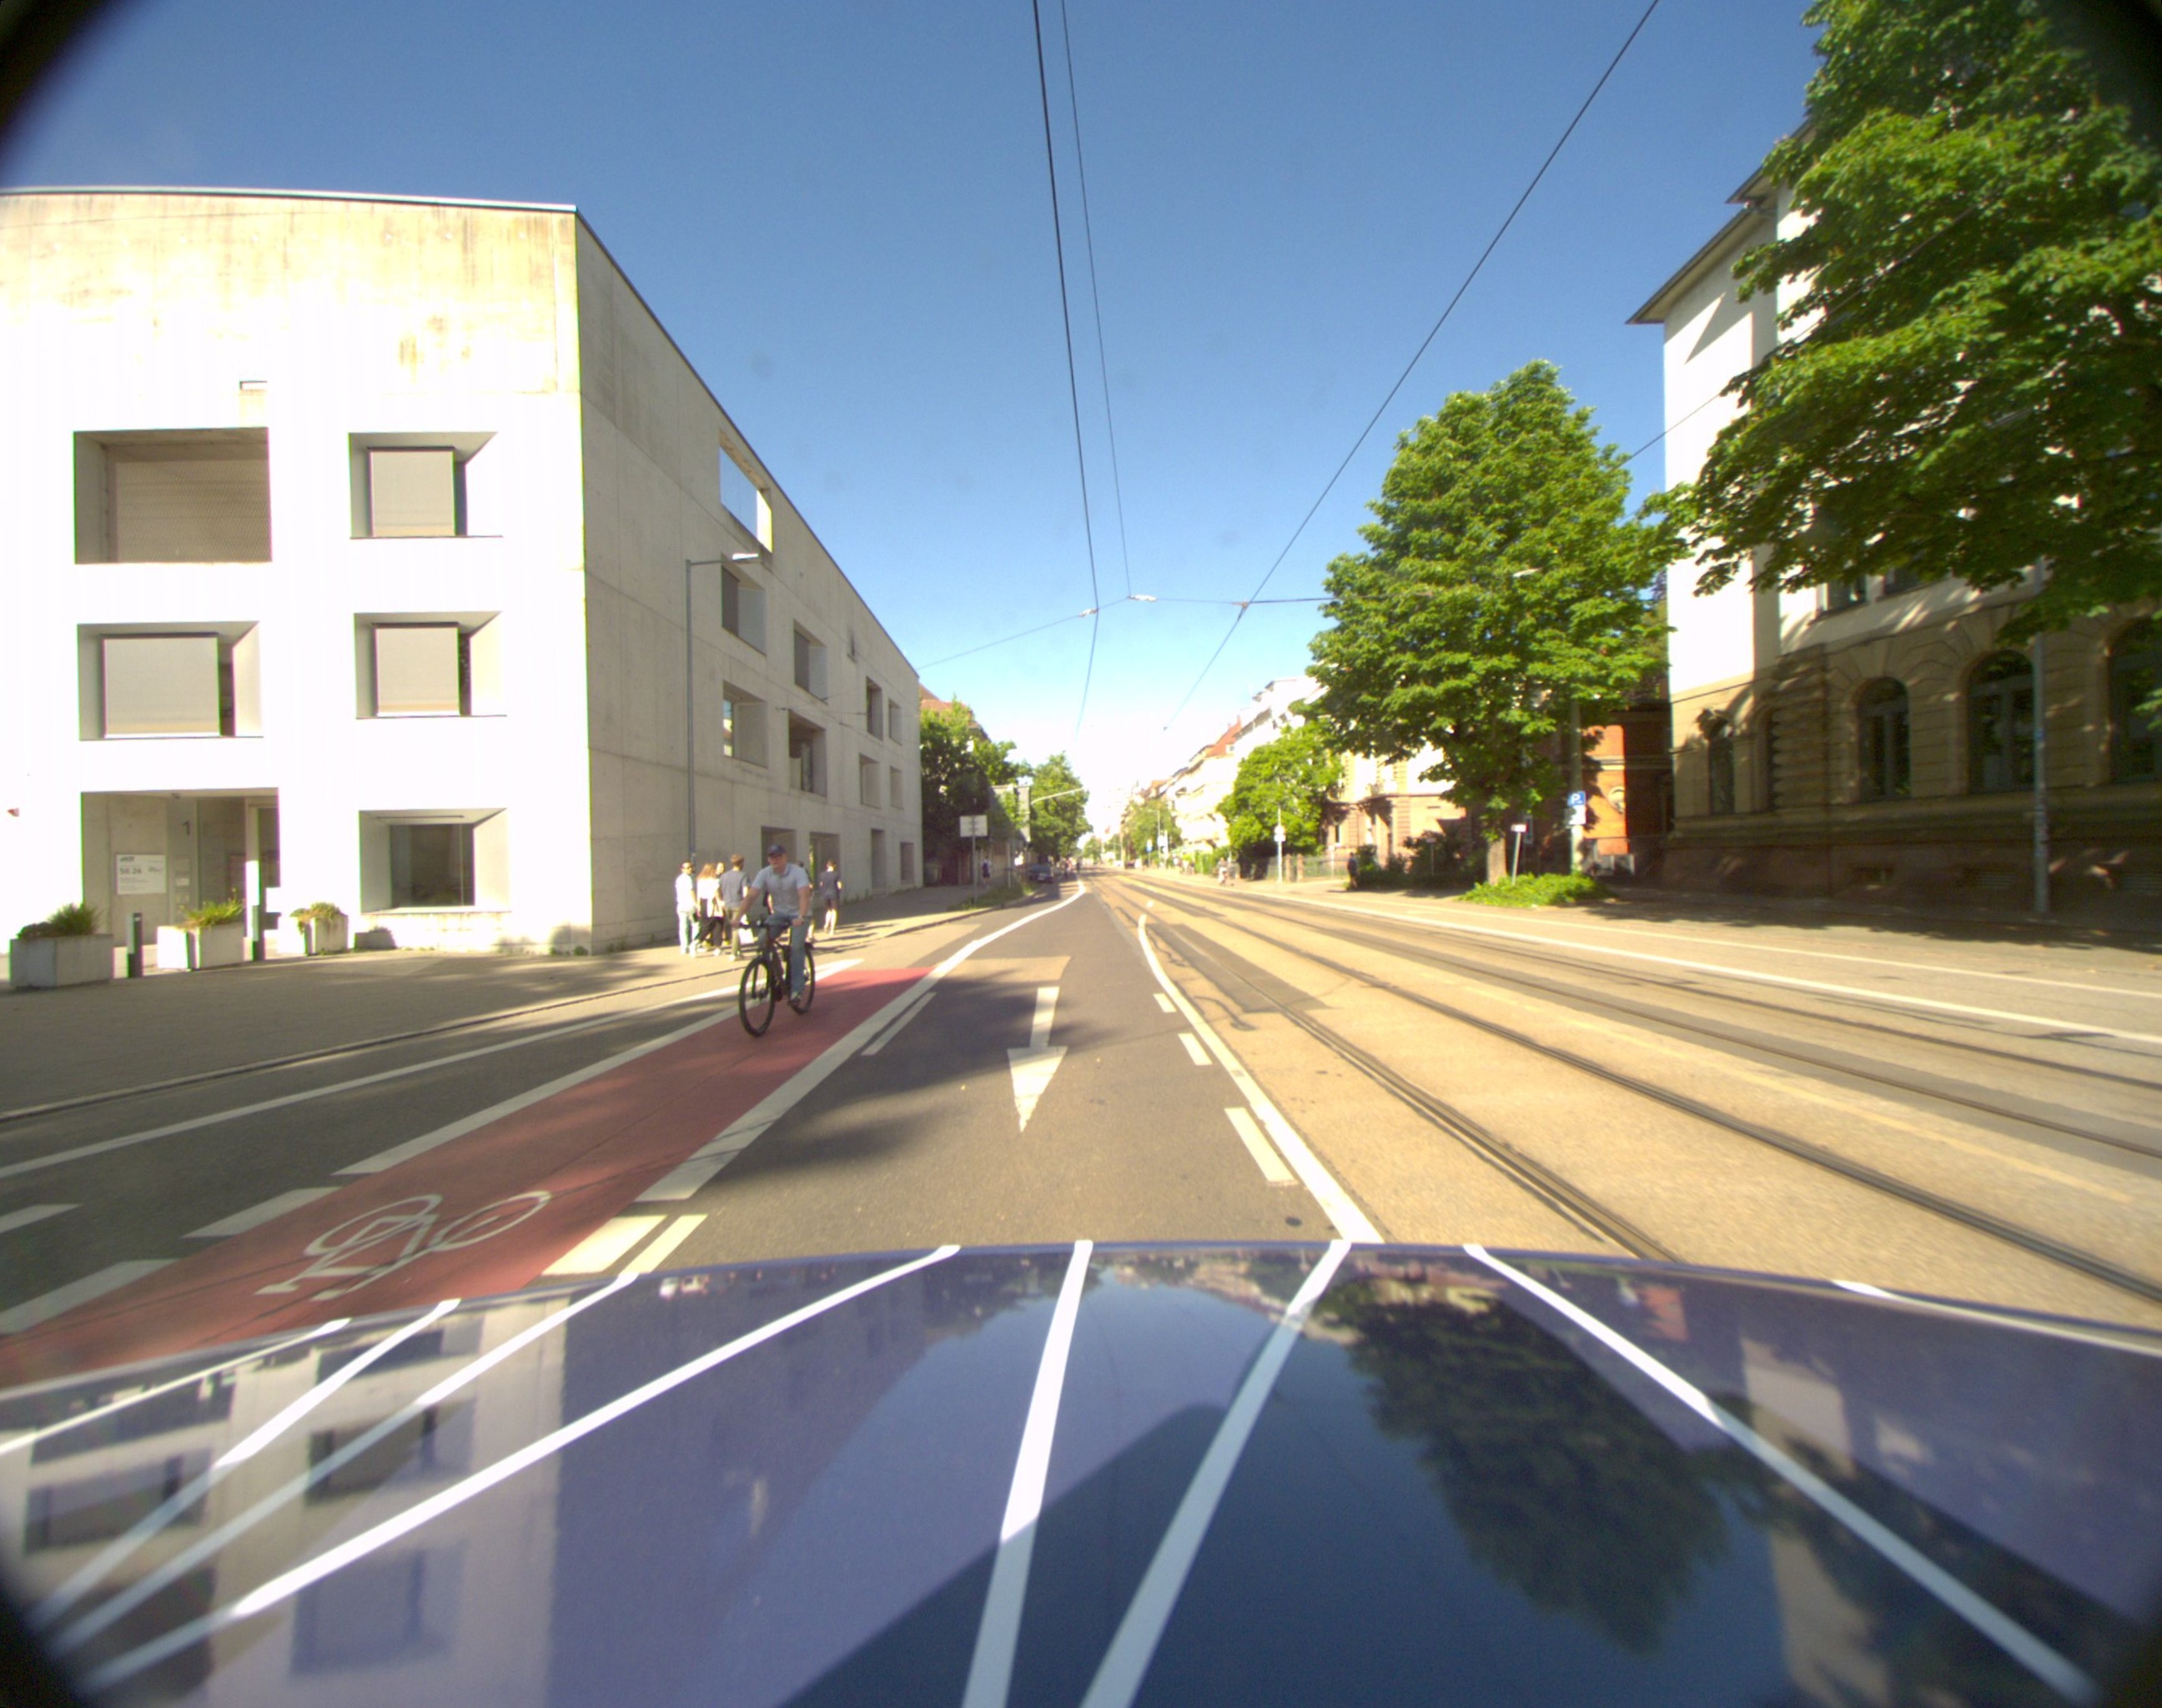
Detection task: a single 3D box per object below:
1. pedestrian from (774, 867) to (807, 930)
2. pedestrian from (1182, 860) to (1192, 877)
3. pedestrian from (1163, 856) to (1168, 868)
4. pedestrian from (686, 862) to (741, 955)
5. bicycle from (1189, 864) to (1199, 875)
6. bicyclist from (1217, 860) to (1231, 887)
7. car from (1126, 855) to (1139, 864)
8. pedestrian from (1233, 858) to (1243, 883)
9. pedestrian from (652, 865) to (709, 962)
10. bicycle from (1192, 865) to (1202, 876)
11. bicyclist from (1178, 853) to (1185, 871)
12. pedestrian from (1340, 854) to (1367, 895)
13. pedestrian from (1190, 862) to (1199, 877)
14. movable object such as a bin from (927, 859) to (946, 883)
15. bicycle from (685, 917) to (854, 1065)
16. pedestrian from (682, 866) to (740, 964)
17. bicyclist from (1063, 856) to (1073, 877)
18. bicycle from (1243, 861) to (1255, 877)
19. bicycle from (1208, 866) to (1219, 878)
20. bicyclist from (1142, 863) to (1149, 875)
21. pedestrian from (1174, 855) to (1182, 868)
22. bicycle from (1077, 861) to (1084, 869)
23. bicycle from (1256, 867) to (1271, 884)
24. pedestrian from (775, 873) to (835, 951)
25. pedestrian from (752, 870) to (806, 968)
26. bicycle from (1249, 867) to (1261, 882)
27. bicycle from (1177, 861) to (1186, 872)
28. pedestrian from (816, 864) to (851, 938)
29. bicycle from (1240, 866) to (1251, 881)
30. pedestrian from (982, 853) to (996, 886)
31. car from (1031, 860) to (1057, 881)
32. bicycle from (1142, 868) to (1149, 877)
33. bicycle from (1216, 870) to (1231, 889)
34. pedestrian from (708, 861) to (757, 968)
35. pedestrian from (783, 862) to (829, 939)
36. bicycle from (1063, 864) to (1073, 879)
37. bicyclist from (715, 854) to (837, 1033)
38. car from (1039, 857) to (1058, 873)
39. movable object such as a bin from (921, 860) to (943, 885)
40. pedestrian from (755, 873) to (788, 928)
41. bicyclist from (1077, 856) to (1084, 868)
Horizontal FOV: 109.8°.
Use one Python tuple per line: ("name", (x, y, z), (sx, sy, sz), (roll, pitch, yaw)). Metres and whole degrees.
("pedestrian", (-7.572, 1.152, 19.829), (0.519, 1.591, 0.764), (-1, 0, 2))
("pedestrian", (10.871, 1.499, 78.009), (0.756, 1.704, 0.808), (-3, 0, 0))
("pedestrian", (11.908, 1.152, 107.419), (0.558, 1.771, 0.538), (-1, 1, -4))
("pedestrian", (-7.419, 1.080, 15.374), (0.658, 1.792, 0.732), (2, 1, 7))
("bicycle", (12.186, 1.701, 81.918), (0.663, 1.083, 1.840), (-4, 1, 0))
("bicyclist", (8.980, 1.208, 47.803), (0.688, 1.635, 1.238), (1, 0, 4))
("car", (9.074, 1.039, 134.677), (1.869, 1.567, 4.588), (1, 0, -1))
("pedestrian", (11.960, 1.259, 57.897), (0.576, 1.821, 0.690), (-1, 1, 19))
("pedestrian", (-7.599, 1.106, 14.438), (0.611, 1.764, 0.653), (3, 1, 11))
("bicycle", (12.216, 1.738, 79.858), (0.663, 1.083, 1.840), (-4, 1, 0))
("bicyclist", (10.822, 0.852, 81.777), (0.705, 1.843, 0.986), (-1, 2, 13))
("pedestrian", (12.276, 0.932, 34.272), (0.732, 1.786, 0.779), (-4, 1, -11))
("pedestrian", (11.641, 1.564, 78.024), (0.756, 1.469, 0.957), (-3, 0, 0))
("movable object such as a bin", (-8.993, 1.073, 47.367), (0.936, 1.455, 1.331), (-1, 0, -1))
("bicycle", (-3.033, 1.283, 7.686), (0.740, 1.088, 2.111), (-3, 0, 1))
("pedestrian", (-6.961, 1.128, 14.322), (0.528, 1.764, 0.737), (4, 1, 32))
("bicyclist", (-1.087, 1.052, 63.479), (0.763, 1.728, 1.046), (-2, 0, -1))
("bicycle", (12.449, 1.083, 56.412), (0.647, 1.137, 1.906), (-3, 0, 8))
("bicycle", (12.000, 1.618, 68.839), (0.640, 1.053, 1.743), (-4, 0, 1))
("bicyclist", (8.316, 1.939, 98.067), (0.747, 1.590, 1.118), (2, 0, 1))
("pedestrian", (13.368, 1.022, 104.229), (0.692, 1.757, 0.868), (-1, 0, 43))
("bicycle", (-0.055, 1.411, 96.909), (0.776, 1.080, 2.058), (-2, 0, -3))
("bicycle", (12.418, 1.466, 51.776), (0.591, 1.039, 1.905), (-3, 0, 3))
("pedestrian", (-6.030, 1.241, 16.656), (0.830, 1.595, 0.894), (3, 1, 10))
("pedestrian", (-5.610, 1.182, 14.158), (0.607, 1.736, 0.718), (2, 1, 7))
("bicycle", (12.391, 1.459, 54.092), (0.591, 1.039, 1.906), (-2, 0, 8))
("bicycle", (10.831, 1.329, 81.785), (0.705, 1.049, 1.837), (-1, 1, 13))
("pedestrian", (-6.026, 1.121, 18.526), (0.496, 1.718, 0.816), (3, 1, 1))
("bicycle", (12.519, 1.489, 57.854), (0.637, 1.039, 2.024), (-1, 0, 16))
("pedestrian", (-5.264, 0.893, 43.524), (0.685, 1.838, 0.955), (0, 0, -2))
("car", (-2.824, 1.220, 57.286), (1.827, 1.450, 4.816), (0, 0, -4))
("bicycle", (8.303, 2.340, 98.070), (0.747, 1.075, 1.899), (2, 0, 1))
("bicycle", (8.974, 1.613, 47.787), (0.688, 1.118, 1.932), (1, 0, 4))
("pedestrian", (-6.387, 1.093, 13.950), (0.519, 1.891, 0.612), (2, 1, 7))
("pedestrian", (-6.635, 1.101, 18.375), (0.649, 1.753, 0.956), (3, 1, 2))
("bicycle", (-1.072, 1.443, 63.570), (0.763, 1.235, 2.096), (-2, 0, -1))
("bicyclist", (-3.051, 0.851, 7.696), (0.740, 1.676, 0.972), (-3, 0, 1))
("car", (-3.493, 1.160, 82.060), (1.815, 1.616, 4.584), (1, 0, 0))
("movable object such as a bin", (-8.905, 1.073, 45.466), (0.935, 1.455, 1.355), (-1, 0, 1))
("pedestrian", (-8.143, 1.225, 20.020), (0.519, 1.396, 0.764), (-1, 0, 2))
("bicyclist", (-0.064, 0.996, 96.913), (0.776, 1.505, 1.229), (-2, 0, -3))
